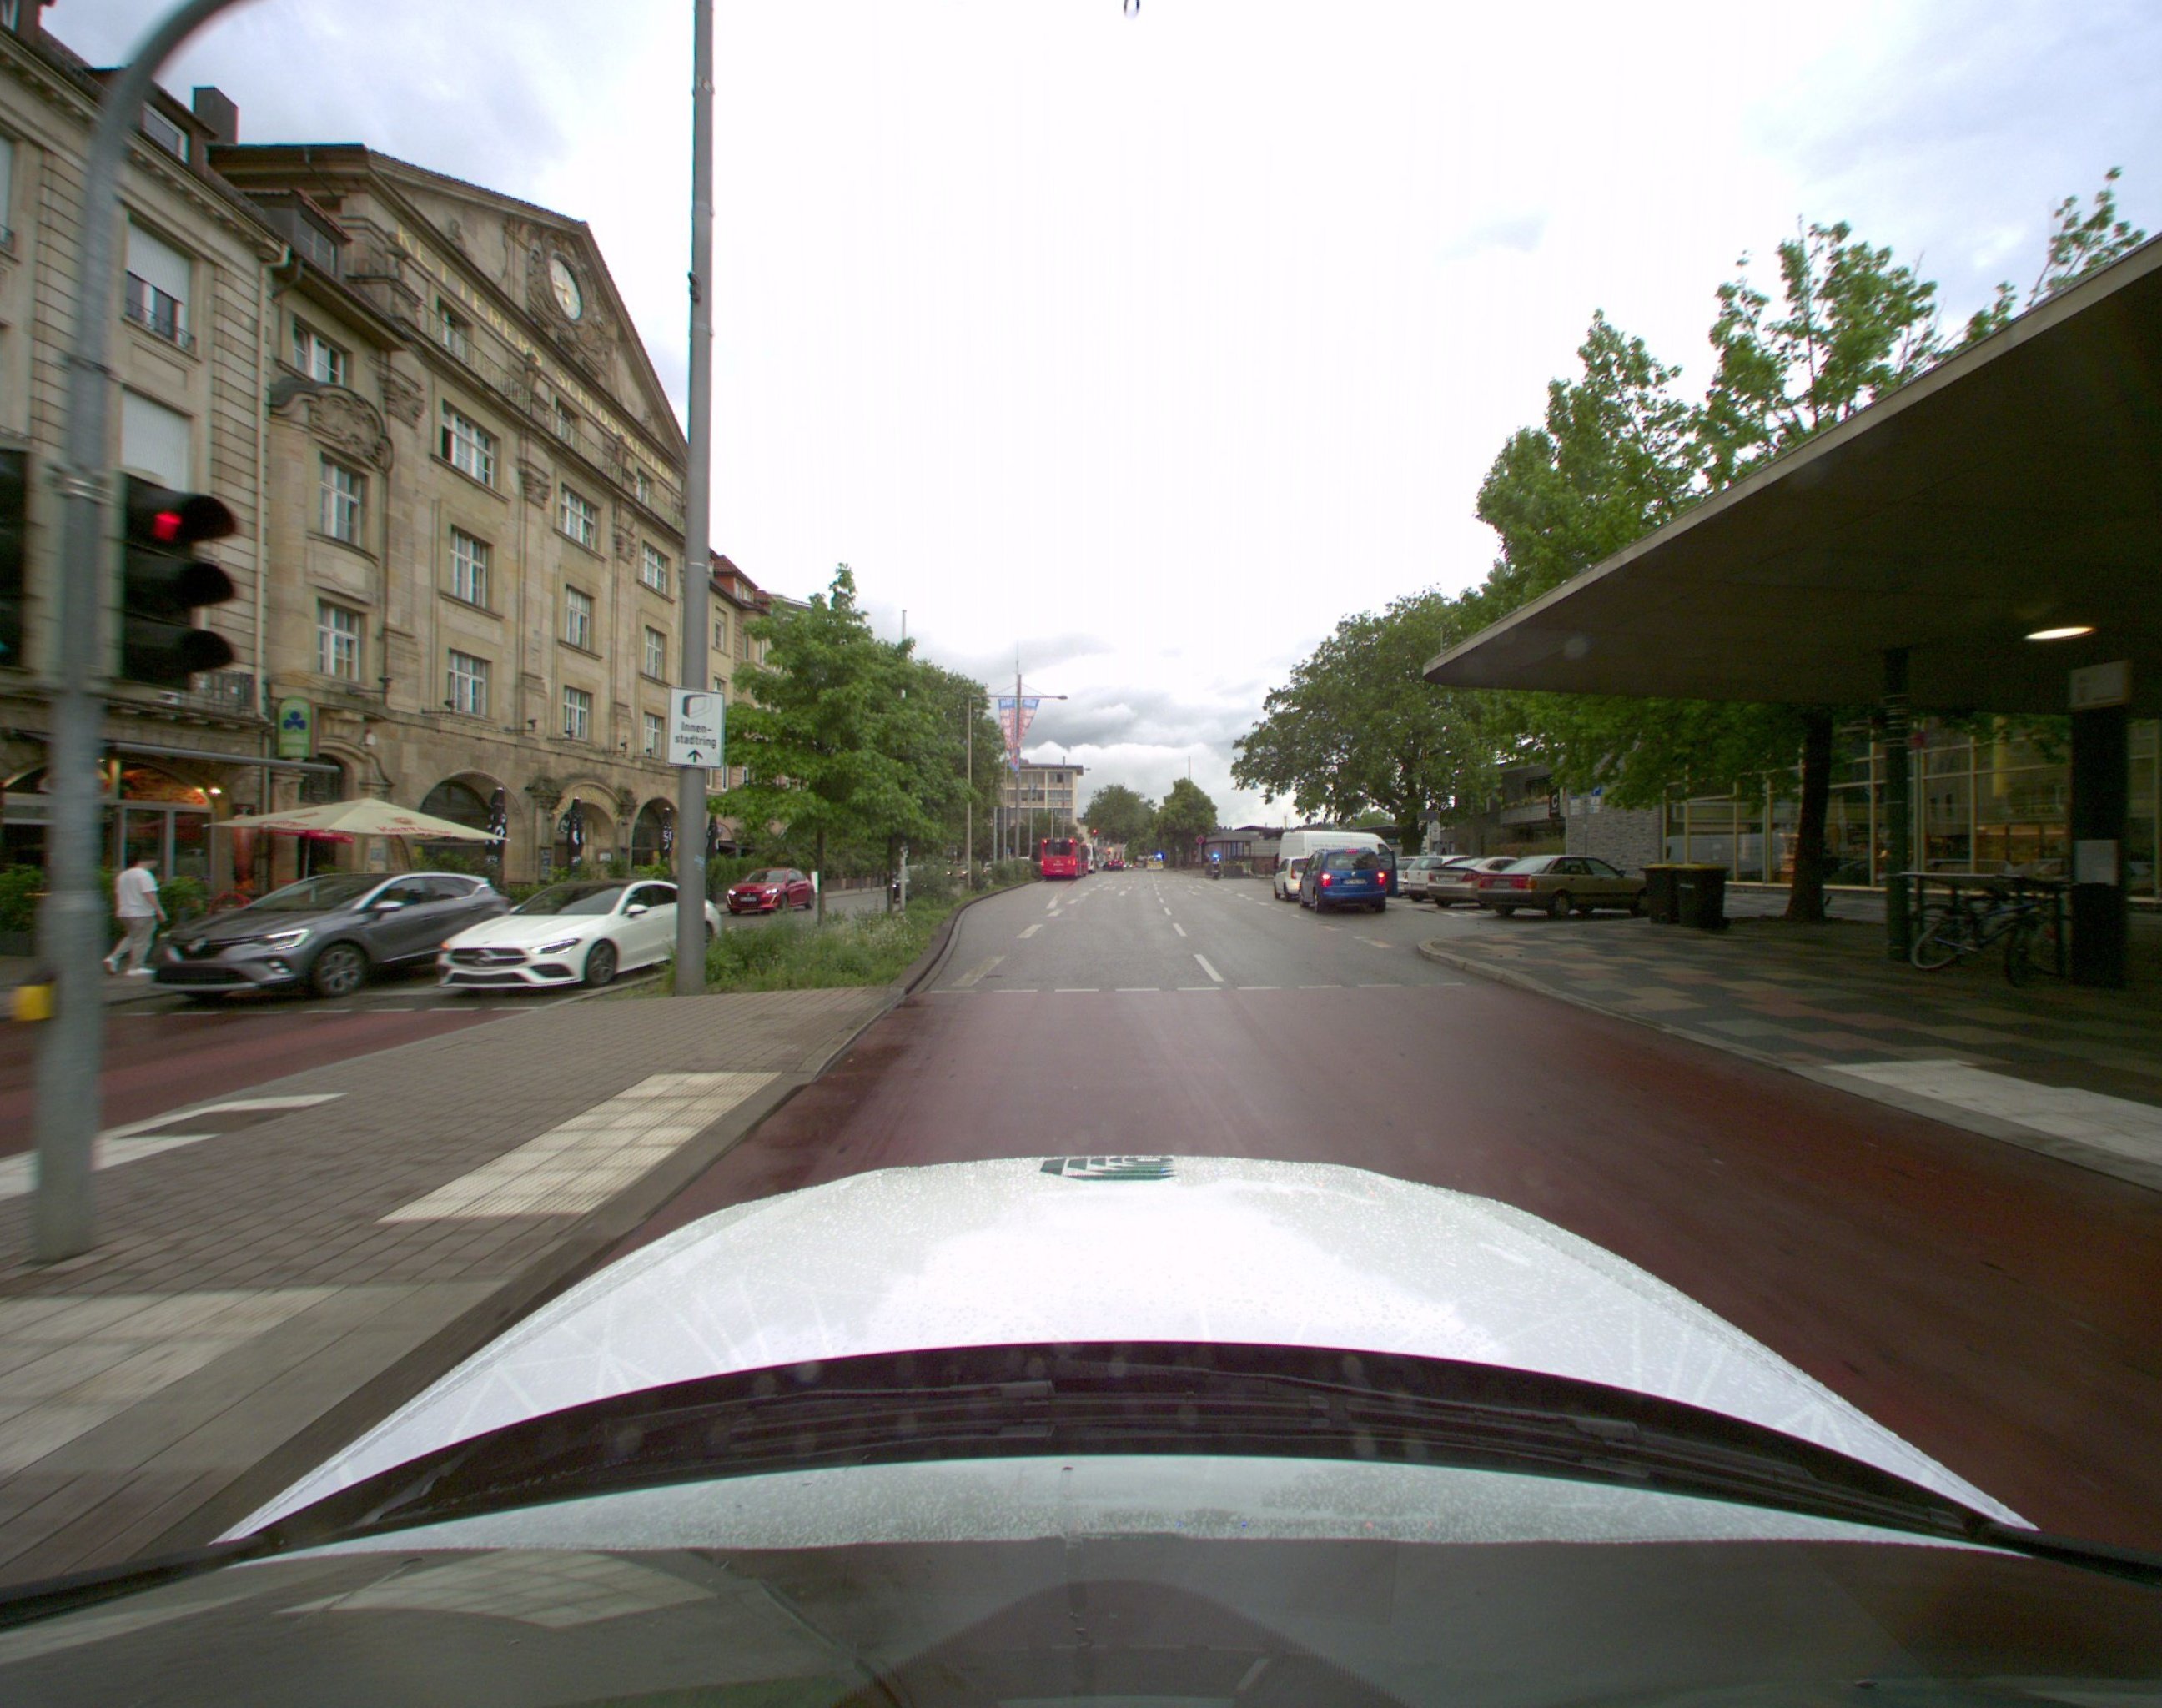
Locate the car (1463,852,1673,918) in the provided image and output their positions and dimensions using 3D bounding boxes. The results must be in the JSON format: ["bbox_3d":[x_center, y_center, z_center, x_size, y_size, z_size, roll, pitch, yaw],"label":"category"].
[{"bbox_3d":[11.106,0.659,18.608,4.197,1.325,1.829,-1,-1,-19],"label":"car"}]

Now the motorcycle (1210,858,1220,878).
[{"bbox_3d":[9.216,0.959,56.015,0.592,1.288,1.957,-2,0,7],"label":"motorcycle"}]

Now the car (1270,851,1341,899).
[{"bbox_3d":[7.563,0.694,27.760,1.778,1.523,3.688,-1,-1,6],"label":"car"}]

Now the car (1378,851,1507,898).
[{"bbox_3d":[12.356,0.675,27.849,4.006,1.443,1.849,-1,-1,-25],"label":"car"}]

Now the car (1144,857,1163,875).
[{"bbox_3d":[8.757,1.448,98.770,1.986,2.014,5.062,-2,-1,1],"label":"car"}]

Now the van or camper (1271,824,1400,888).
[{"bbox_3d":[12.227,0.063,39.068,5.977,2.763,2.180,-2,-1,-26],"label":"van or camper"}]

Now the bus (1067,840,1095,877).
[{"bbox_3d":[0.025,0.522,90.526,2.796,3.746,10.444,-2,-1,0],"label":"bus"}]

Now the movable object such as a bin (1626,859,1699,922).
[{"bbox_3d":[10.623,0.652,14.892,0.751,1.095,0.746,-2,-1,-11],"label":"movable object such as a bin"}]

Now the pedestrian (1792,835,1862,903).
[{"bbox_3d":[17.806,0.345,19.448,0.864,1.559,0.812,-2,-1,-5],"label":"pedestrian"}]

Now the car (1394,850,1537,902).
[{"bbox_3d":[11.883,0.654,25.154,4.006,1.443,1.849,-1,-1,-25],"label":"car"}]

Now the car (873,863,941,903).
[{"bbox_3d":[-7.004,1.129,33.150,1.740,1.430,3.955,-2,-1,2],"label":"car"}]

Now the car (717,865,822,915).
[{"bbox_3d":[-10.134,1.134,26.810,1.740,1.430,3.955,-2,-1,2],"label":"car"}]

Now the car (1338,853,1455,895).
[{"bbox_3d":[11.935,0.728,30.811,4.006,1.443,1.849,-1,-1,-25],"label":"car"}]

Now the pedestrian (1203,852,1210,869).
[{"bbox_3d":[13.220,0.662,85.919,0.620,1.816,0.599,-2,0,2],"label":"pedestrian"}]

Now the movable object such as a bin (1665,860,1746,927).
[{"bbox_3d":[10.504,0.649,13.717,0.750,1.067,0.747,-2,-1,-7],"label":"movable object such as a bin"}]

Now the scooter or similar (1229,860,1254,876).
[{"bbox_3d":[11.517,0.994,58.318,2.161,1.110,0.438,-2,0,-38],"label":"scooter or similar"}]

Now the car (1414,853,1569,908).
[{"bbox_3d":[11.246,0.682,22.273,4.011,1.359,1.847,-1,-1,-29],"label":"car"}]

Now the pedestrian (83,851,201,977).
[{"bbox_3d":[-14.107,0.875,12.260,0.876,1.813,0.751,-2,-1,1],"label":"pedestrian"}]

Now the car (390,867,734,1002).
[{"bbox_3d":[-7.220,1.001,12.094,1.986,1.543,4.635,-1,0,2],"label":"car"}]

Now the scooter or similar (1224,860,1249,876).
[{"bbox_3d":[11.187,1.014,58.692,2.161,1.110,0.423,-2,0,-38],"label":"scooter or similar"}]

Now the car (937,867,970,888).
[{"bbox_3d":[-9.589,1.755,61.474,1.740,1.430,3.955,-2,-1,2],"label":"car"}]

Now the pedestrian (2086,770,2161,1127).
[{"bbox_3d":[5.658,0.451,3.844,0.745,1.747,0.834,-1,-1,-7],"label":"pedestrian"}]

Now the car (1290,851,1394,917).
[{"bbox_3d":[6.858,0.762,21.813,1.849,1.569,4.006,-1,-1,6],"label":"car"}]

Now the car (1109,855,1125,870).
[{"bbox_3d":[4.842,1.129,109.523,1.986,2.014,4.002,-2,-1,2],"label":"car"}]

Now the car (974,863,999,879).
[{"bbox_3d":[-8.919,1.614,77.353,1.740,1.430,3.955,-2,-1,2],"label":"car"}]

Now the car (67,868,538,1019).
[{"bbox_3d":[-10.214,1.037,11.377,1.986,1.543,4.635,-2,-1,2],"label":"car"}]

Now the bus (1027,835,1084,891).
[{"bbox_3d":[-1.863,0.671,65.352,3.530,3.979,11.179,-2,-1,3],"label":"bus"}]

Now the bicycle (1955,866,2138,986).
[{"bbox_3d":[9.315,0.658,7.851,1.831,1.056,0.418,-1,-1,-17],"label":"bicycle"}]

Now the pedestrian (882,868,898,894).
[{"bbox_3d":[-14.825,2.089,63.227,0.848,1.900,0.943,-2,-1,-35],"label":"pedestrian"}]

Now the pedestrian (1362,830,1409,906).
[{"bbox_3d":[8.298,0.381,22.215,0.829,2.014,0.888,-2,-1,-3],"label":"pedestrian"}]

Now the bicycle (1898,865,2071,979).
[{"bbox_3d":[9.218,0.661,8.301,1.831,1.056,0.418,-1,-1,-17],"label":"bicycle"}]

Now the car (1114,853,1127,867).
[{"bbox_3d":[6.044,0.969,125.029,1.986,2.014,4.002,-2,-1,2],"label":"car"}]
